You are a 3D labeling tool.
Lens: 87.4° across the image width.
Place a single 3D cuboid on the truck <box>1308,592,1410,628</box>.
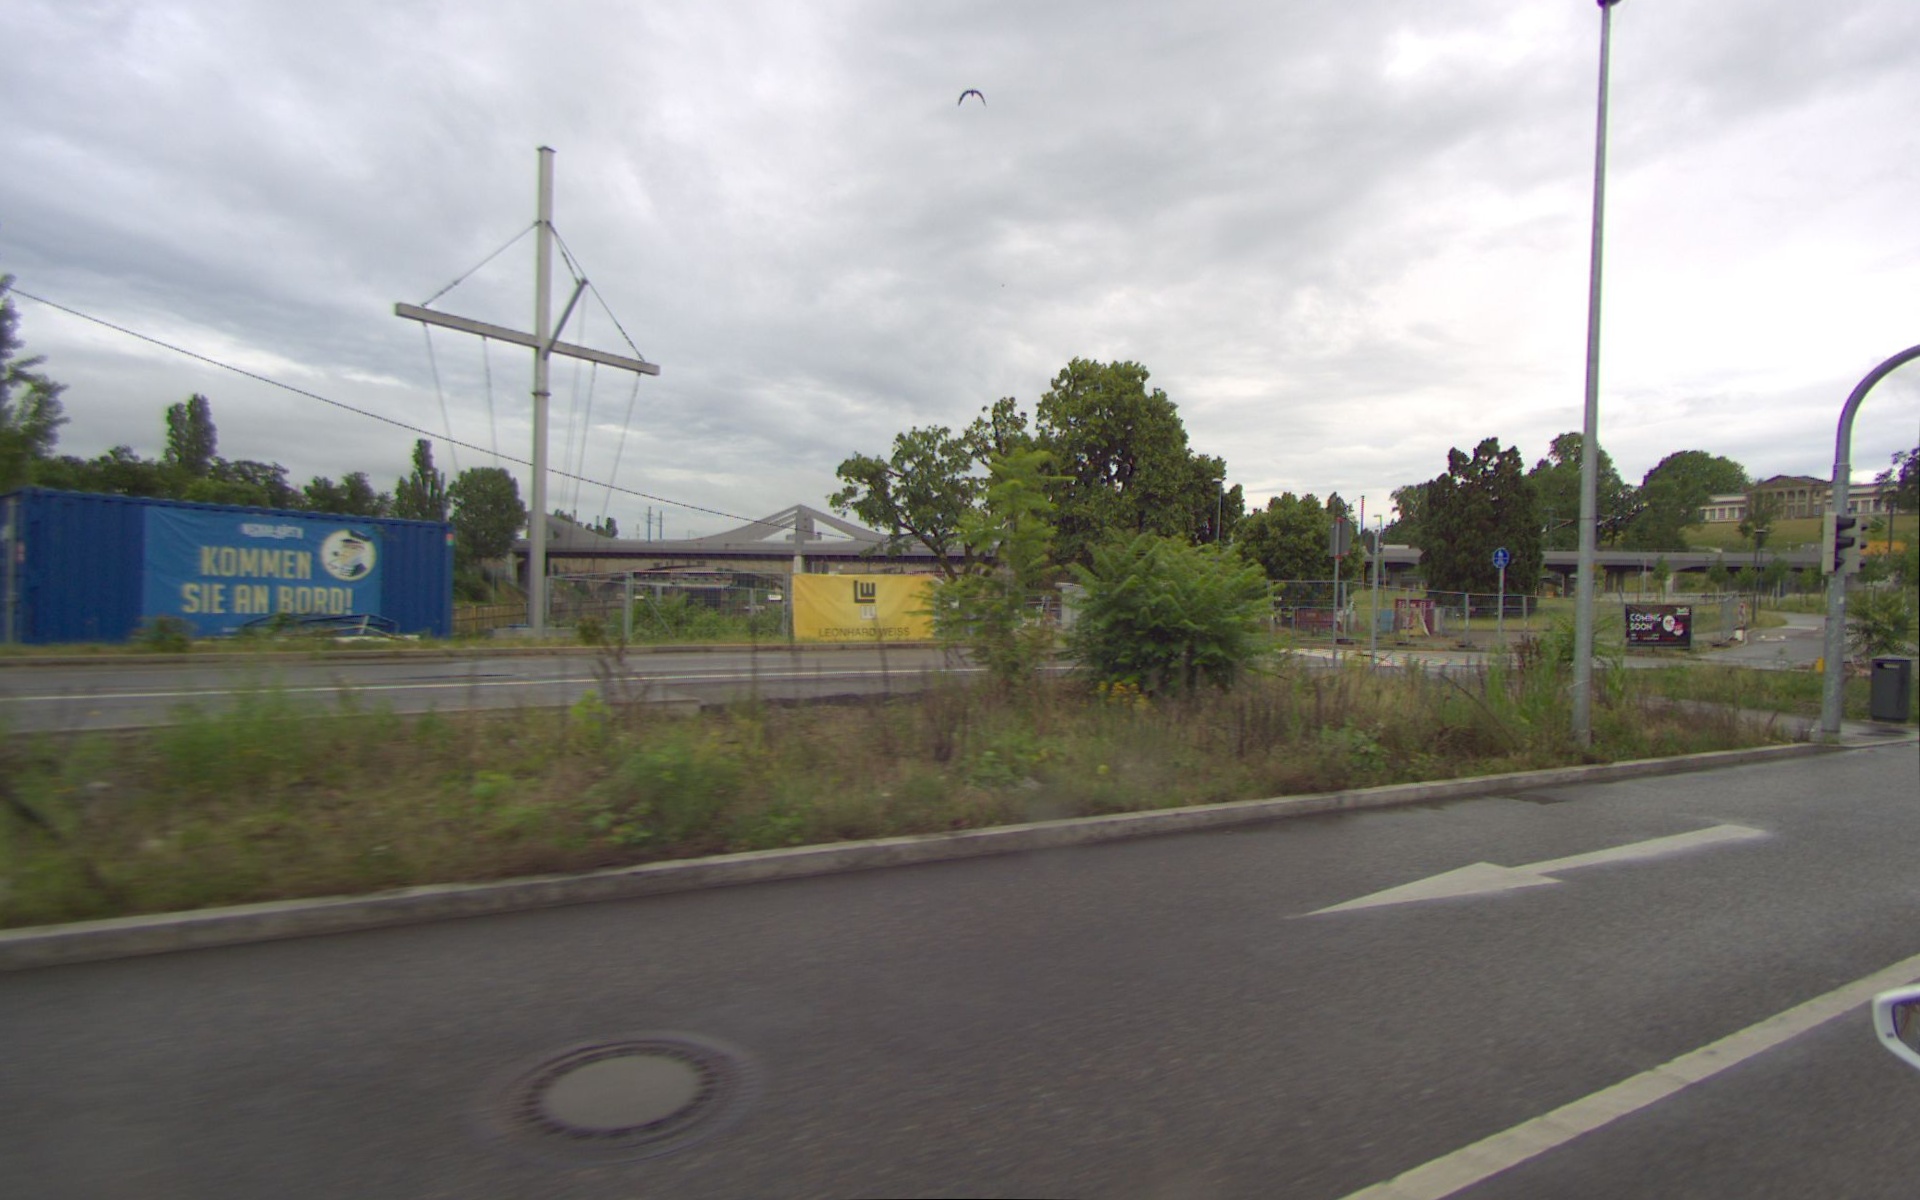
[{"bbox_3d":[33.488,0.790,84.478,7.807,2.840,2.423,1,1,22],"label":"truck"}]
